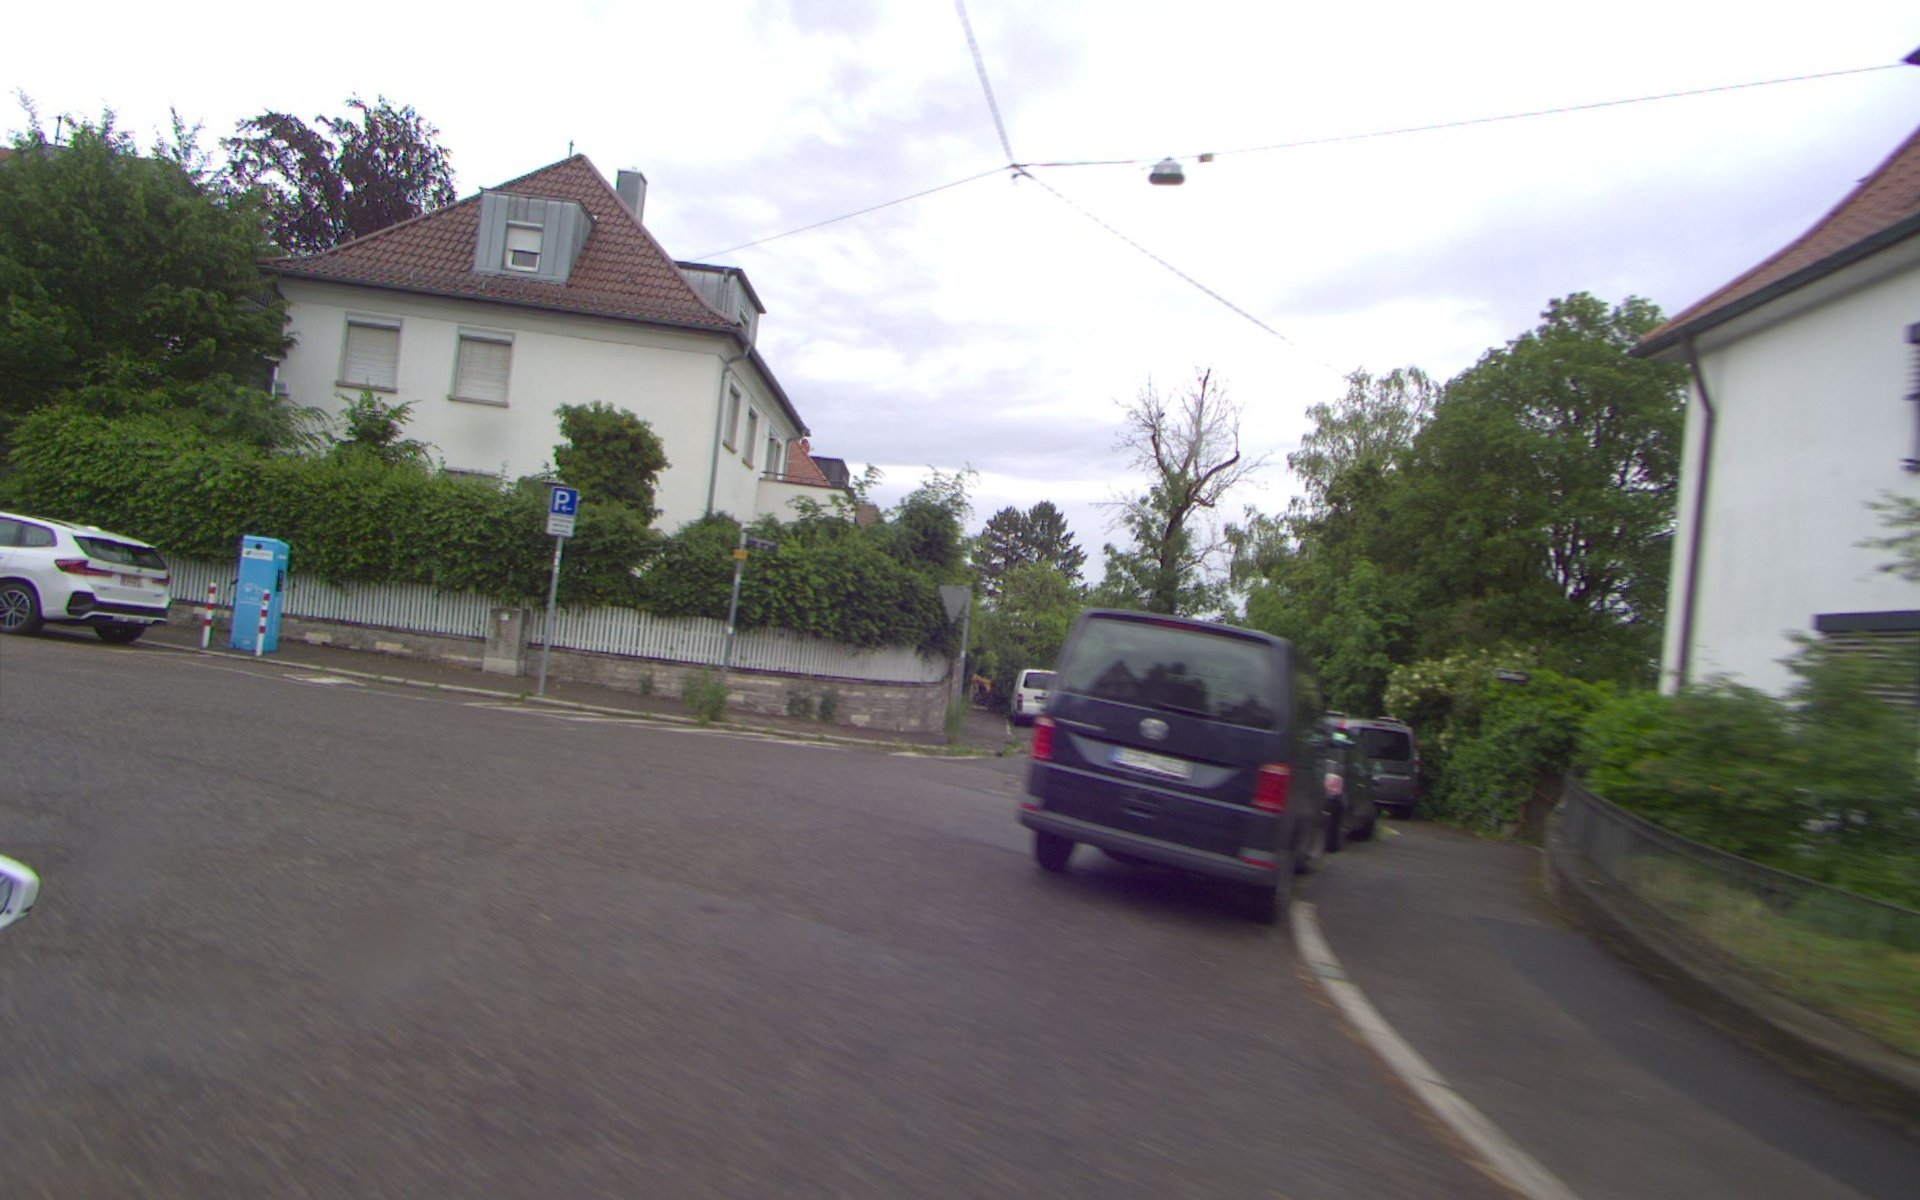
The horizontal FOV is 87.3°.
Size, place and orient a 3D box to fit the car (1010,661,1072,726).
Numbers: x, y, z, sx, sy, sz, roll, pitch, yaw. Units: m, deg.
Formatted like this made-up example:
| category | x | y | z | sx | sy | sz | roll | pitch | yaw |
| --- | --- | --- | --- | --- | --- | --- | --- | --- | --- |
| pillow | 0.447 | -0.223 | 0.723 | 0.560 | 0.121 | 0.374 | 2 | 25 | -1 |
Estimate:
| category | x | y | z | sx | sy | sz | roll | pitch | yaw |
| --- | --- | --- | --- | --- | --- | --- | --- | --- | --- |
| car | 2.829 | 3.293 | 35.777 | 1.791 | 2.036 | 4.006 | 5 | -4 | 1 |

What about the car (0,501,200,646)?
| category | x | y | z | sx | sy | sz | roll | pitch | yaw |
| --- | --- | --- | --- | --- | --- | --- | --- | --- | --- |
| car | -13.836 | -0.550 | 14.311 | 4.561 | 1.690 | 1.753 | 8 | -3 | 2 |

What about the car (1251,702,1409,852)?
| category | x | y | z | sx | sy | sz | roll | pitch | yaw |
| --- | --- | --- | --- | --- | --- | --- | --- | --- | --- |
| car | 4.965 | 2.325 | 13.257 | 1.300 | 1.455 | 3.272 | 11 | -4 | 29 |

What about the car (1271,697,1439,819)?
| category | x | y | z | sx | sy | sz | roll | pitch | yaw |
| --- | --- | --- | --- | --- | --- | --- | --- | --- | --- |
| car | 7.841 | 3.082 | 20.394 | 1.738 | 1.879 | 4.007 | 8 | -4 | 2 |

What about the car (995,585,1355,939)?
| category | x | y | z | sx | sy | sz | roll | pitch | yaw |
| --- | --- | --- | --- | --- | --- | --- | --- | --- | --- |
| car | 2.196 | 1.193 | 8.717 | 1.906 | 1.970 | 4.925 | 6 | -3 | 24 |
